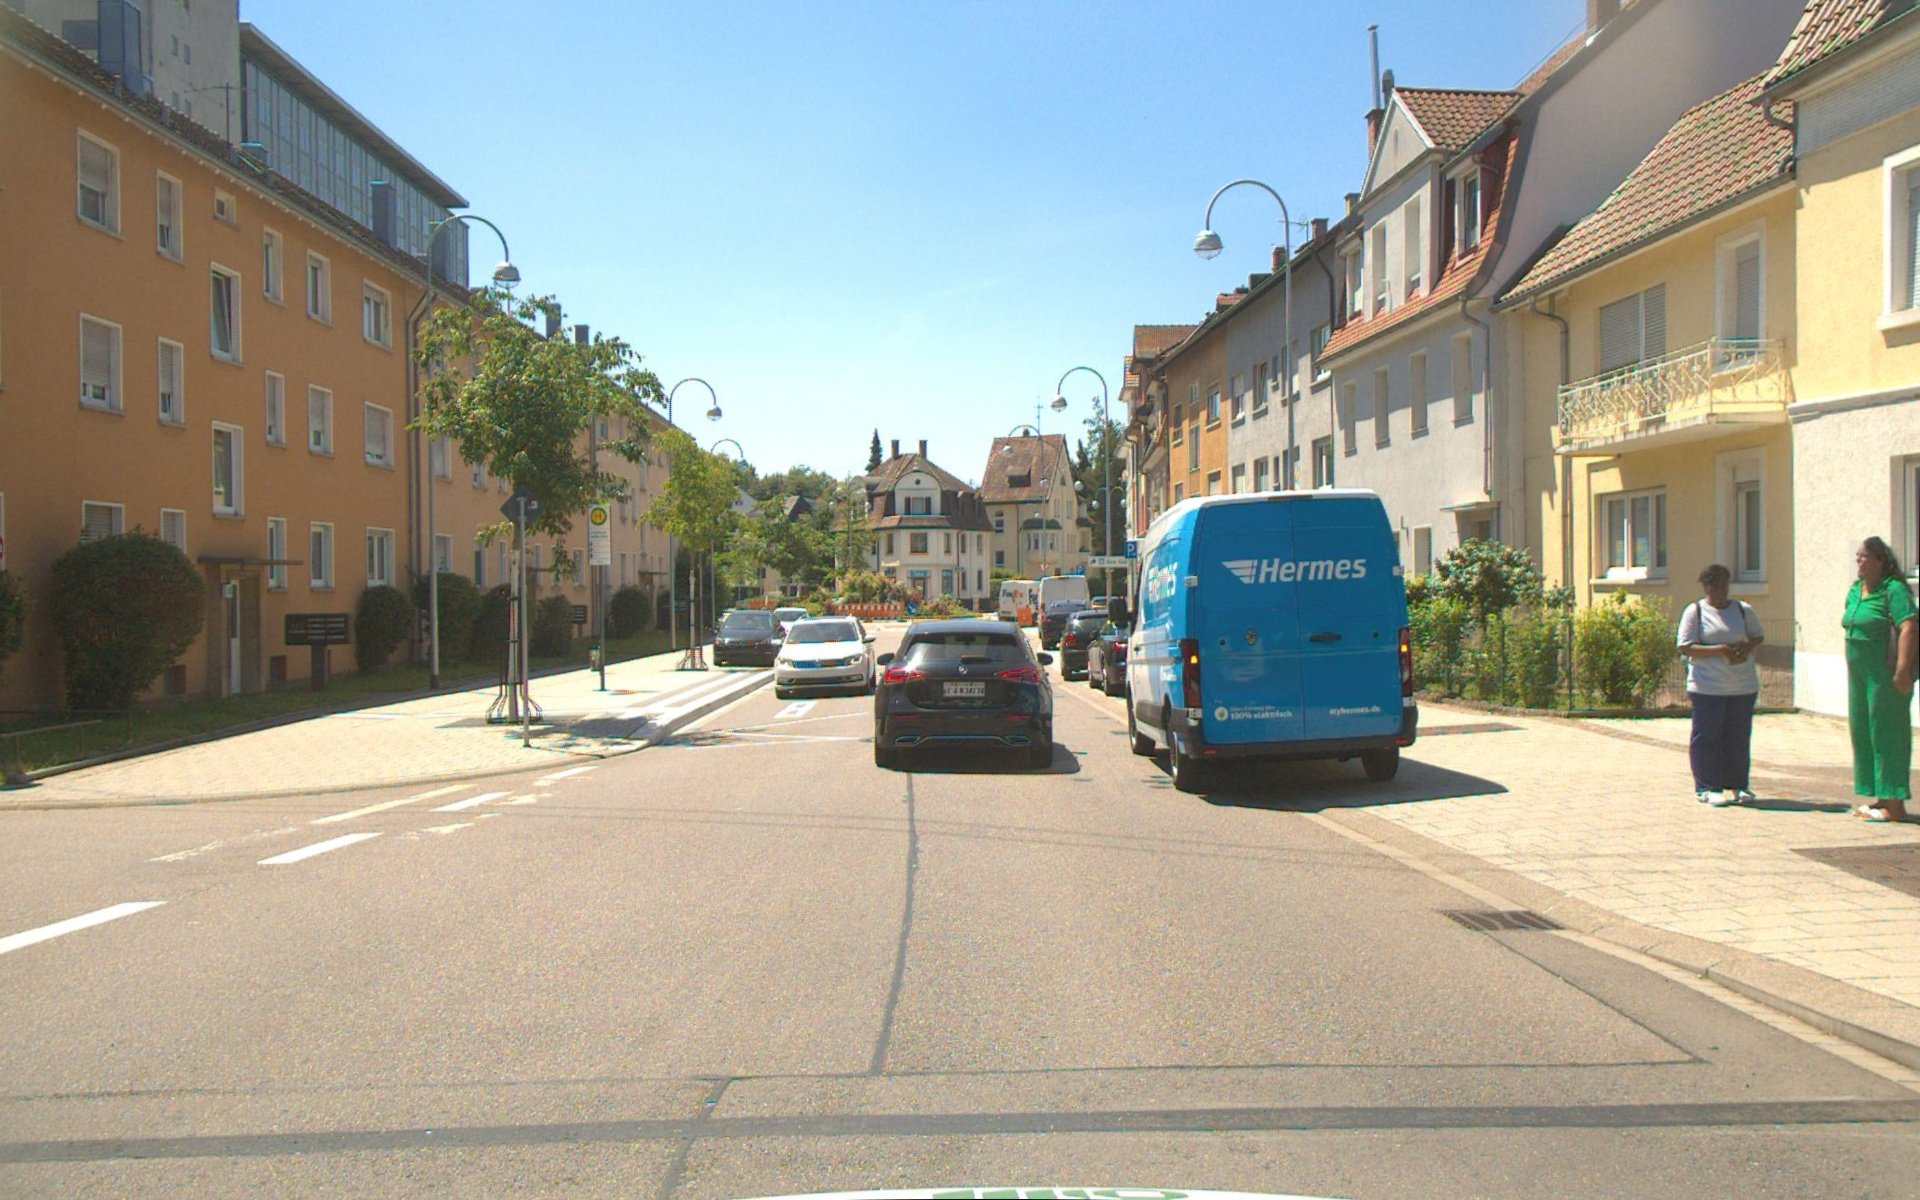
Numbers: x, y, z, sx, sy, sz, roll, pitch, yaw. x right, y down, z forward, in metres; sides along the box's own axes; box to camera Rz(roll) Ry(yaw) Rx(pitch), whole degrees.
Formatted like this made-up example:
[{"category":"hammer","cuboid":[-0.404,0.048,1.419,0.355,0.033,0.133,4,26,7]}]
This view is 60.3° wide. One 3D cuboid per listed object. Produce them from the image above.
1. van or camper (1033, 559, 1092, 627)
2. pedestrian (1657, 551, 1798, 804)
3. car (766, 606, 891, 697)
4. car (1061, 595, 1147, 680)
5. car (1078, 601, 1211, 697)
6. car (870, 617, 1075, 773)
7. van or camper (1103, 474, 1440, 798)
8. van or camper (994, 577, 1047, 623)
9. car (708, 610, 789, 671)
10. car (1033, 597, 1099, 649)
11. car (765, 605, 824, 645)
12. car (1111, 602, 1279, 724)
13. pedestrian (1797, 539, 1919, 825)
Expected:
[{"category":"van or camper","cuboid":[4.188,-0.306,68.533,2.120,2.634,5.766,-2,0,1]},{"category":"pedestrian","cuboid":[5.363,0.525,11.575,0.624,1.683,0.521,-4,1,-4]},{"category":"car","cuboid":[-2.459,0.937,31.877,1.952,1.533,4.289,-1,1,1]},{"category":"car","cuboid":[3.161,0.785,36.892,1.692,1.661,4.002,-3,0,3]},{"category":"car","cuboid":[3.320,0.842,30.651,1.767,1.500,4.719,-4,0,-1]},{"category":"car","cuboid":[0.116,0.919,17.436,1.913,1.452,3.999,0,-1,0]},{"category":"van or camper","cuboid":[2.776,0.314,16.407,2.065,2.510,6.176,-3,-1,0]},{"category":"van or camper","cuboid":[3.602,-0.043,97.799,2.159,2.656,4.002,0,0,17]},{"category":"car","cuboid":[-5.861,1.087,46.317,1.820,1.533,4.561,-1,1,-2]},{"category":"car","cuboid":[3.696,0.757,56.980,1.855,1.635,4.368,-3,0,8]},{"category":"car","cuboid":[-6.294,0.959,63.150,1.953,1.445,4.086,-1,-1,-2]},{"category":"car","cuboid":[3.359,0.849,24.368,1.767,1.556,4.149,-2,0,-1]},{"category":"pedestrian","cuboid":[5.933,0.497,10.586,0.512,1.736,0.799,-4,1,-21]}]
